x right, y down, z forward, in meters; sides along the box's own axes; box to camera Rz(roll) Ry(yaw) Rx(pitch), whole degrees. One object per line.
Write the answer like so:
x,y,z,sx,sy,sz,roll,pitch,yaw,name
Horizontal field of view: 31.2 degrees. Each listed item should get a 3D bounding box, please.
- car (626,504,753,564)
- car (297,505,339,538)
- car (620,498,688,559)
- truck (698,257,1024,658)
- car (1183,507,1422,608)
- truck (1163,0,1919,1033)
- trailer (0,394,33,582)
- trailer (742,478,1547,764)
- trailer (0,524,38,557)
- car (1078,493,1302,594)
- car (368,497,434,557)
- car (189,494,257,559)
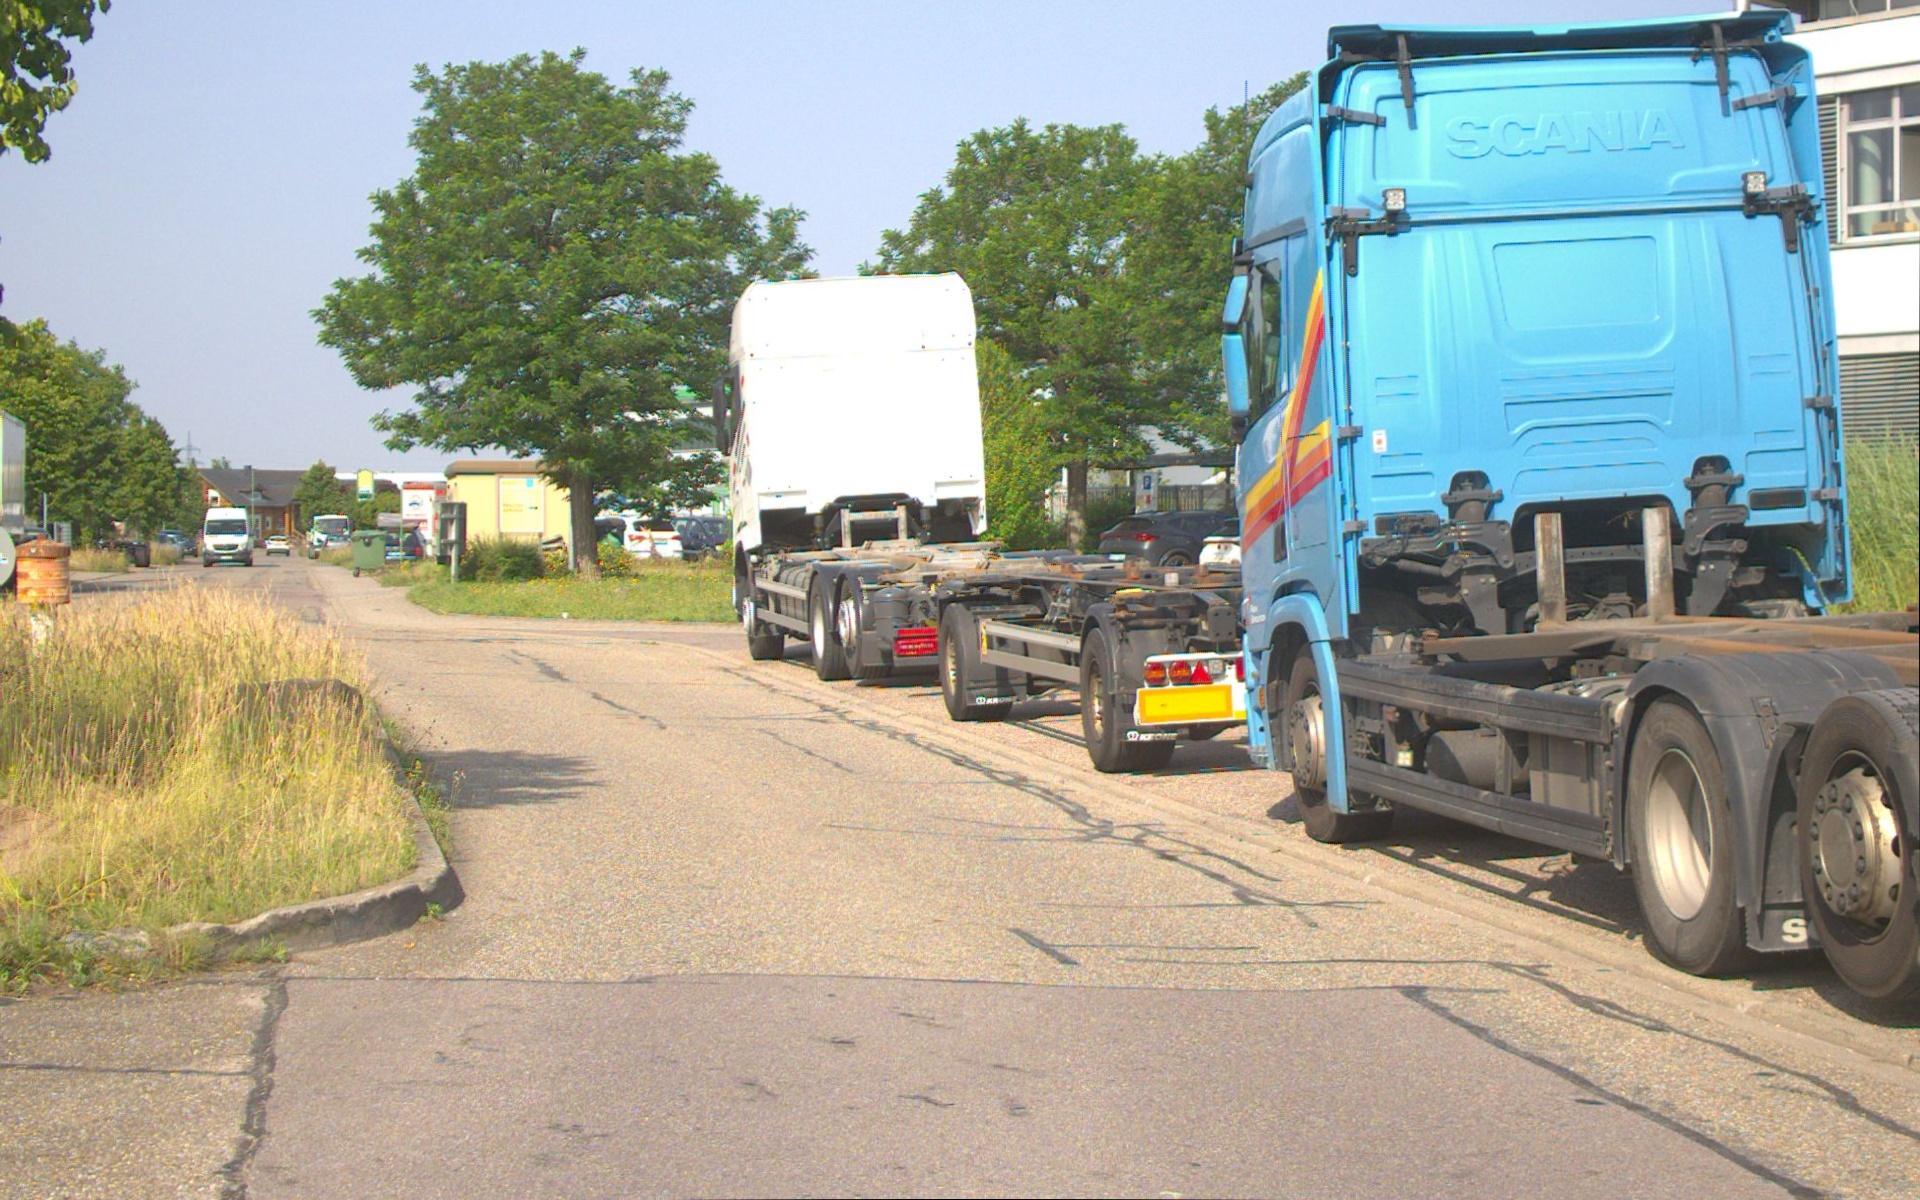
-6.379,-1.540,80.789,1.668,1.325,3.664,2,0,-27,car
-38.325,-4.678,205.134,1.770,1.809,4.001,2,0,-21,car
-8.862,-2.047,99.430,1.717,1.612,4.001,2,0,-8,car
-1.145,-1.503,36.942,2.745,3.968,4.001,-3,2,-11,truck
6.294,-0.769,62.984,4.074,1.695,1.765,2,0,-32,car
3.444,-0.638,13.440,2.887,3.523,9.757,-4,1,-10,truck
-21.677,-2.344,73.169,2.830,3.830,12.039,2,0,-11,trailer
0.608,-0.056,28.076,2.745,1.568,16.177,-2,2,-11,trailer
-22.593,-1.405,80.137,1.896,0.758,4.001,0,1,-12,trailer
4.414,-1.068,65.689,3.988,1.761,1.999,2,0,-42,car
-17.355,-2.241,106.650,1.791,1.744,4.001,2,0,-12,car
-32.113,-3.168,149.586,2.214,2.677,6.855,2,0,-17,car
